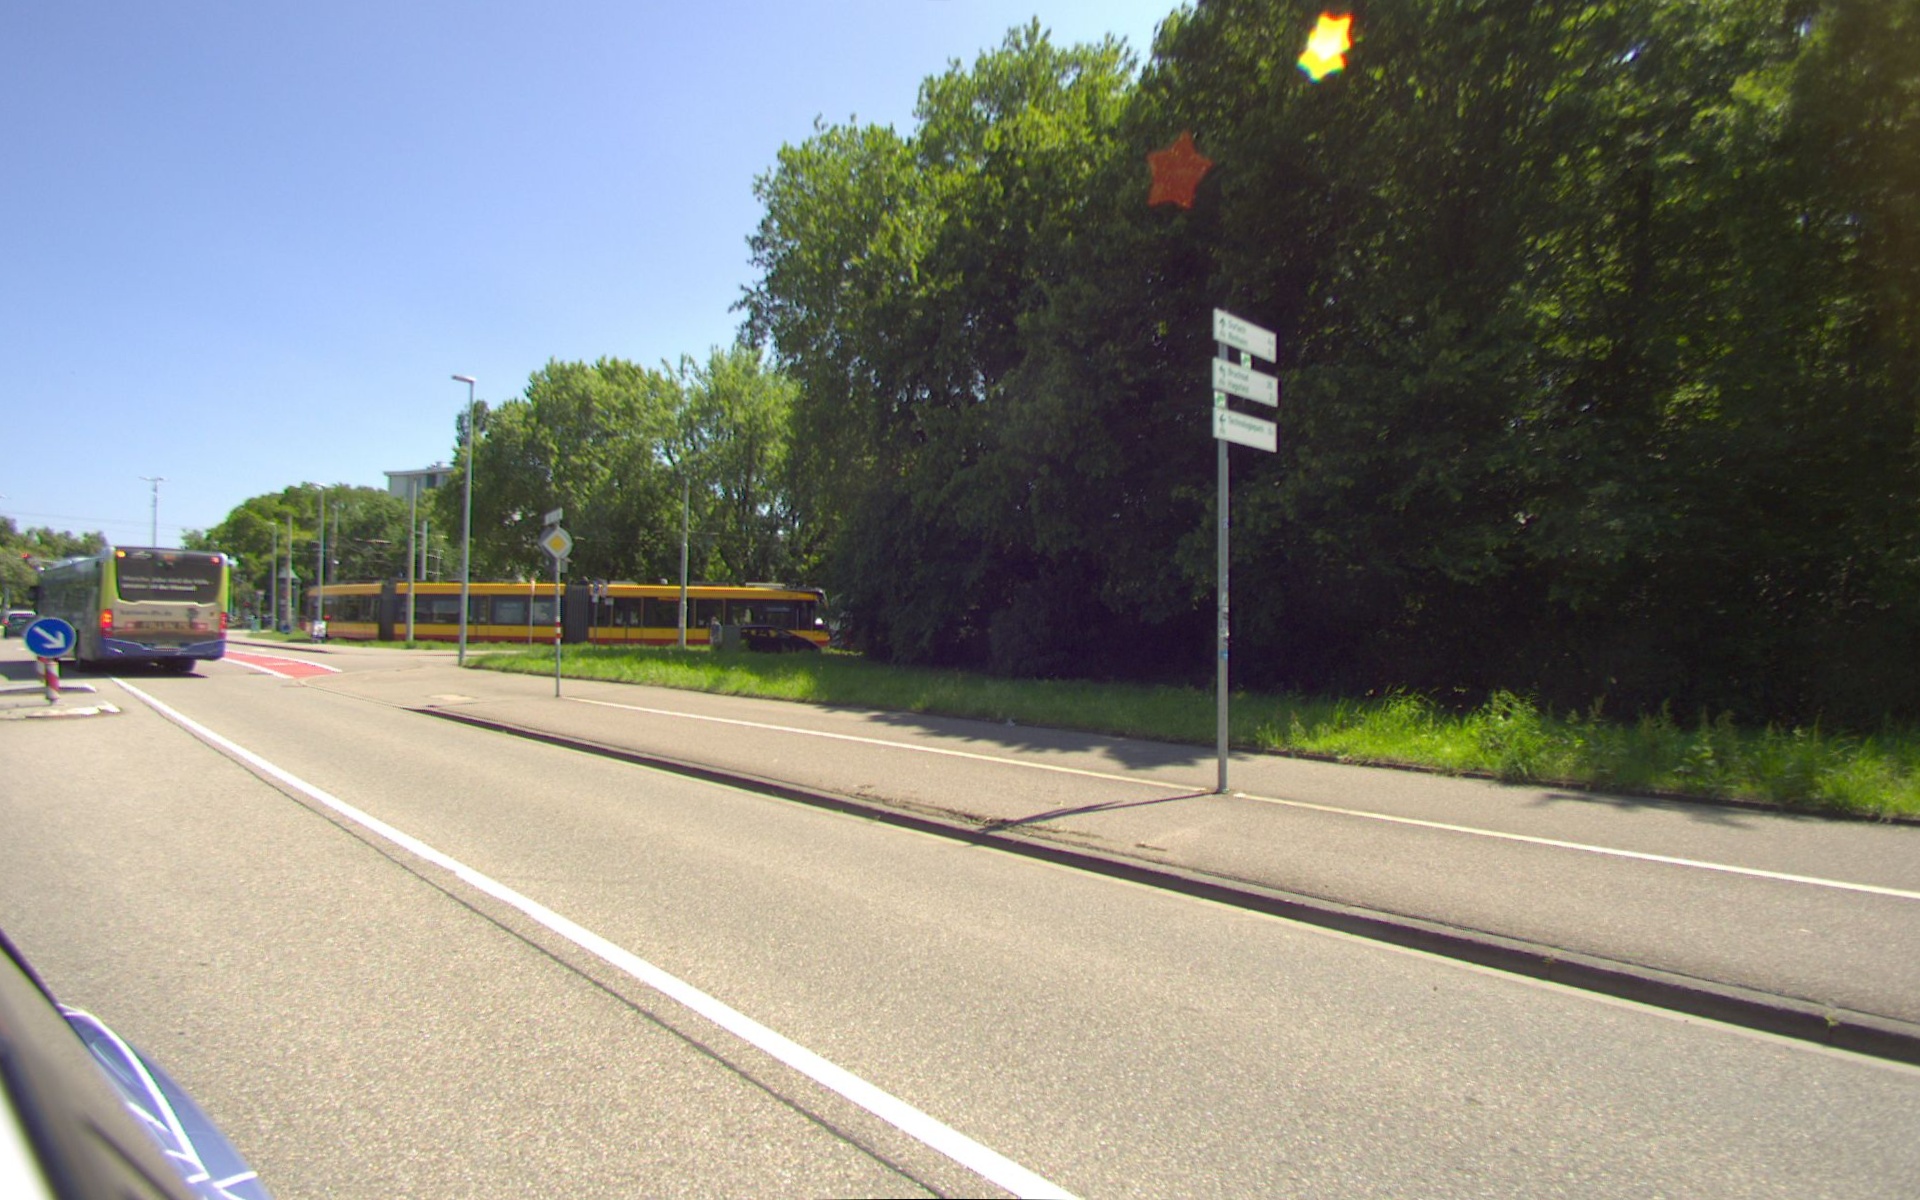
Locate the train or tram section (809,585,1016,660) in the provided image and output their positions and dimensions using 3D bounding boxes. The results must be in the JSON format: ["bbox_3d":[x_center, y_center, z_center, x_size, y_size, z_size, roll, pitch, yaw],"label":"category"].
[{"bbox_3d":[-2.320,1.524,58.742,3.025,3.788,13.995,-1,-4,42],"label":"train or tram section"}]

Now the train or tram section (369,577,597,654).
[{"bbox_3d":[-25.130,0.796,53.338,11.508,3.788,3.011,0,-3,15],"label":"train or tram section"}]

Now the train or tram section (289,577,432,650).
[{"bbox_3d":[-35.031,0.860,58.812,12.985,3.788,2.985,-1,-4,41],"label":"train or tram section"}]

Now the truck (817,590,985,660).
[{"bbox_3d":[-2.564,1.141,45.667,7.218,2.932,2.575,2,-1,-34],"label":"truck"}]

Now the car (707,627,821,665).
[{"bbox_3d":[-8.014,1.891,41.502,4.241,1.428,1.671,2,-1,-35],"label":"car"}]

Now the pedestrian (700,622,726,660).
[{"bbox_3d":[-11.242,1.852,46.069,0.854,1.723,0.799,-2,-3,40],"label":"pedestrian"}]

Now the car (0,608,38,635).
[{"bbox_3d":[-62.916,1.432,67.656,1.790,1.736,4.835,1,-2,-43],"label":"car"}]

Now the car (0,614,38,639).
[{"bbox_3d":[-57.803,1.599,62.106,1.702,1.474,3.993,1,-2,-43],"label":"car"}]

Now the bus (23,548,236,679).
[{"bbox_3d":[-23.827,0.432,28.670,11.933,3.068,2.720,-1,-3,42],"label":"bus"}]

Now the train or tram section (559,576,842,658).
[{"bbox_3d":[-13.299,0.999,52.954,13.818,3.788,3.033,2,-3,-11],"label":"train or tram section"}]
